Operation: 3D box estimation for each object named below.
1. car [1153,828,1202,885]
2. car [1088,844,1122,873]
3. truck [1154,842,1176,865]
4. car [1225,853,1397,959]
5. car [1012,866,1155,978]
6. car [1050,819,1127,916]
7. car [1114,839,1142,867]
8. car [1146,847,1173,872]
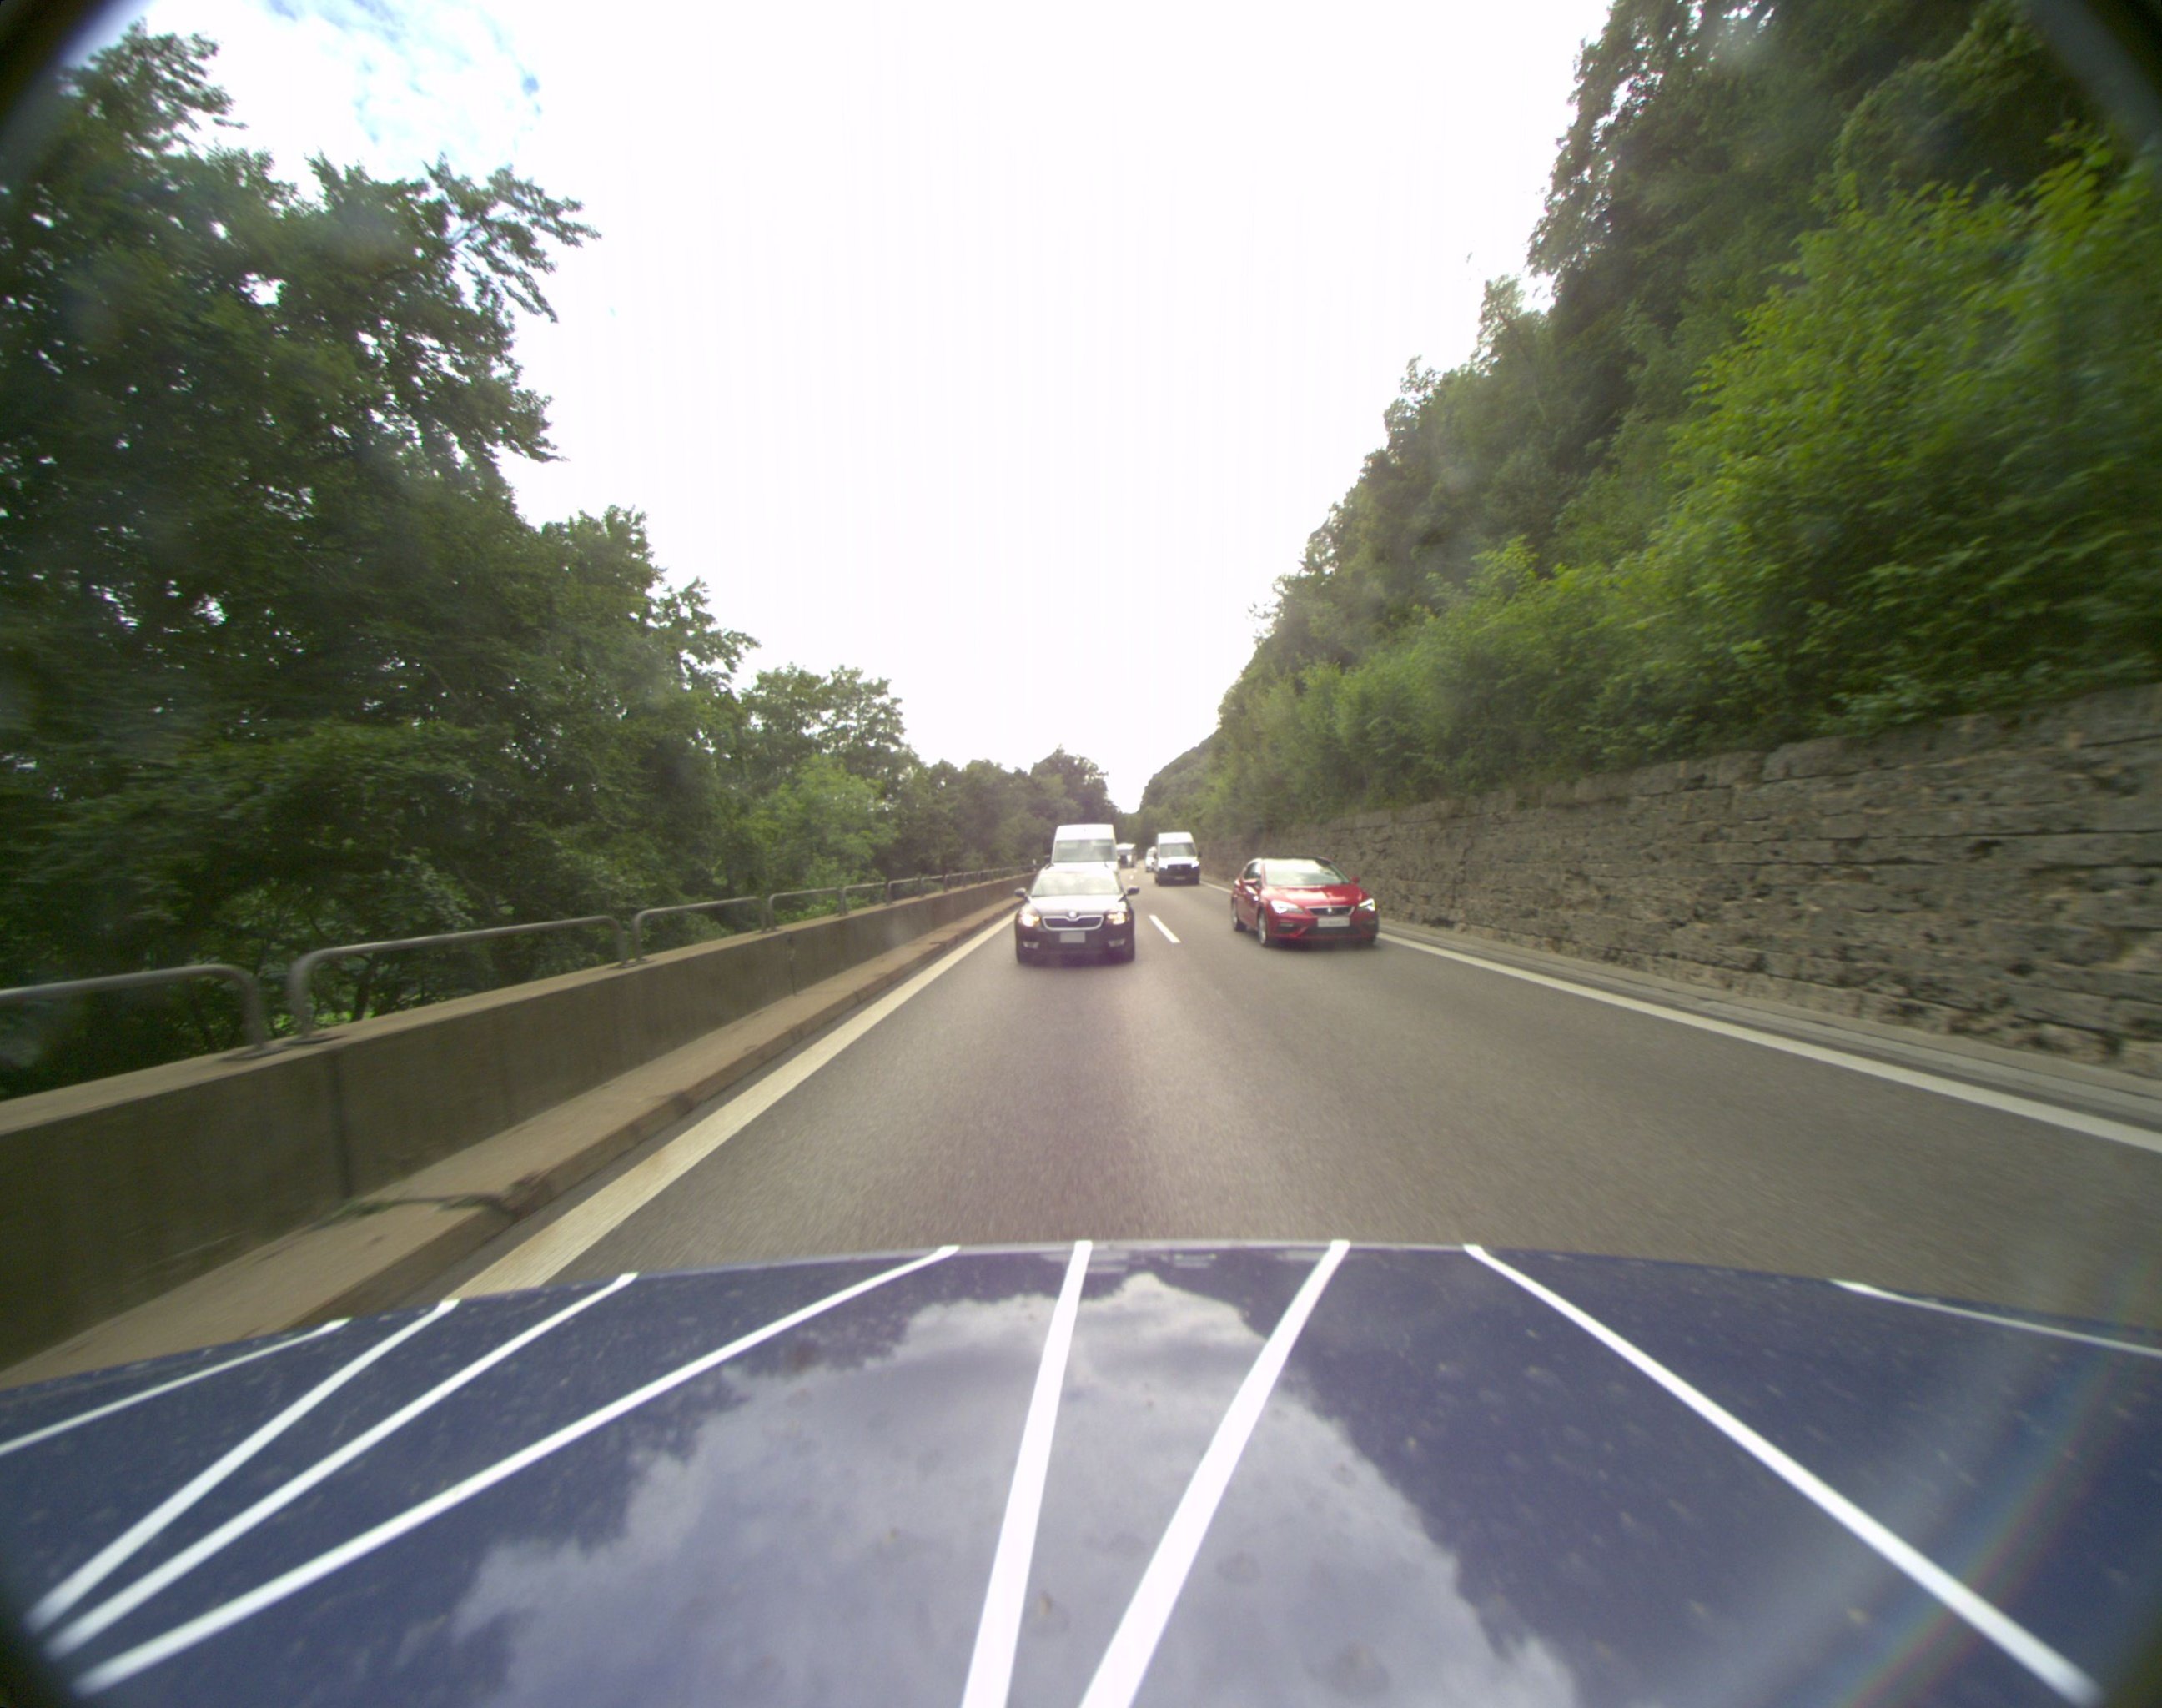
[{"bbox_3d":[4.808,0.103,38.524,2.030,2.570,6.276,-2,1,4],"label":"car"},{"bbox_3d":[1.763,0.306,54.588,1.997,1.871,4.001,-3,1,7],"label":"car"},{"bbox_3d":[9.286,-0.085,83.857,1.997,2.266,6.589,-3,0,8],"label":"truck"},{"bbox_3d":[3.765,0.765,13.271,1.770,1.451,4.411,-2,0,2],"label":"car"},{"bbox_3d":[-0.126,0.962,13.163,1.914,1.391,5.695,-1,0,-3],"label":"car"},{"bbox_3d":[0.141,0.348,23.365,1.999,2.550,5.917,-2,1,-1],"label":"car"},{"bbox_3d":[5.395,-0.182,86.492,2.275,2.941,7.190,-2,1,10],"label":"car"},{"bbox_3d":[6.729,0.446,64.484,1.997,1.941,6.150,-3,0,7],"label":"car"}]
